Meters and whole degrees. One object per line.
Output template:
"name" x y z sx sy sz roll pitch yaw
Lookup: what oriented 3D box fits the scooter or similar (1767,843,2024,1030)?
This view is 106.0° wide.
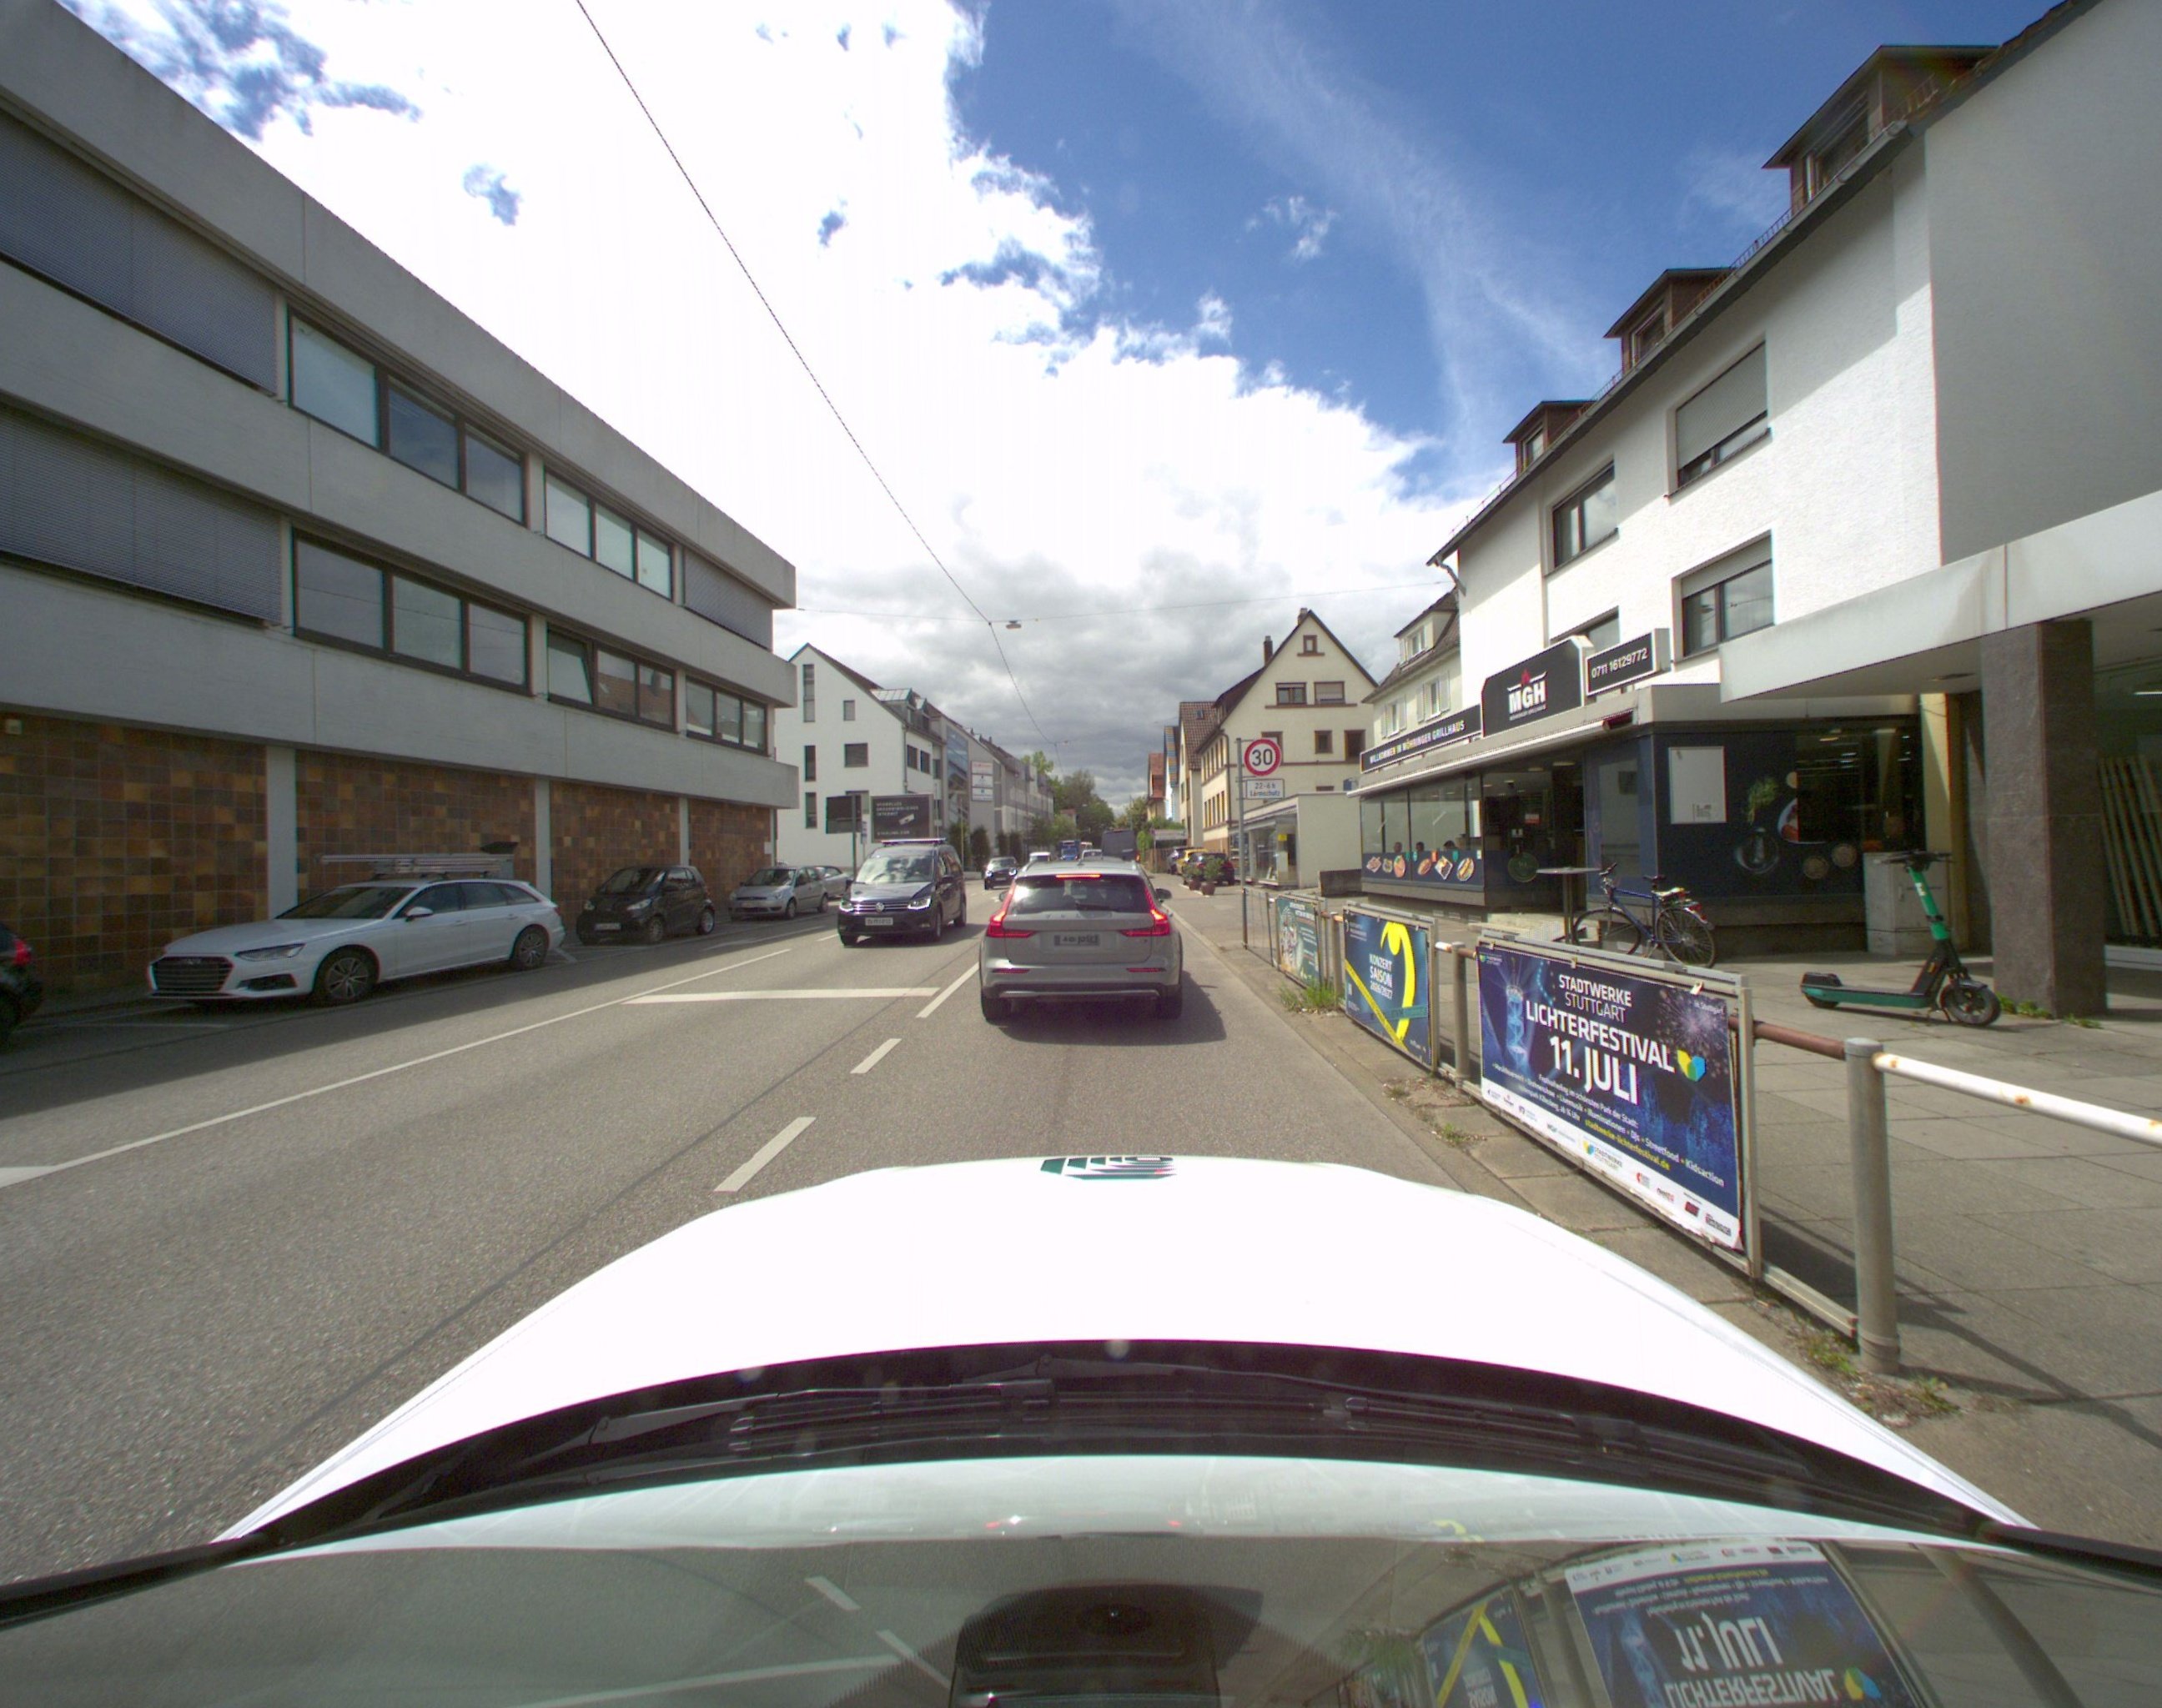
"scooter or similar" 6.197 0.575 6.275 0.688 1.267 1.181 -2 -1 -11

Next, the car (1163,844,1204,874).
"car" 5.972 0.260 48.076 1.854 1.612 4.587 -3 0 1

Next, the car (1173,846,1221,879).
"car" 6.082 0.398 43.284 1.871 1.447 4.307 -2 2 0

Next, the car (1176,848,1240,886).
"car" 5.356 0.523 34.782 1.962 1.447 4.534 -2 0 0

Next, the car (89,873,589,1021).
"car" -9.425 1.052 11.153 2.034 1.444 4.959 -1 0 5

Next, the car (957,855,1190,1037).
"car" 0.054 0.763 8.659 1.888 1.453 3.972 -1 0 3

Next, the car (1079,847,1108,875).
"car" 0.990 0.517 62.157 1.985 2.013 4.004 -1 0 3

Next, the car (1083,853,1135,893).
"car" 1.161 0.711 32.166 1.888 1.446 3.972 -1 0 3

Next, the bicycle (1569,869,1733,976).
"bicycle" 6.213 0.703 8.992 0.474 1.028 1.631 -2 0 -8

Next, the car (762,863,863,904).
"car" -10.500 1.105 32.286 1.941 1.358 4.863 -2 0 6

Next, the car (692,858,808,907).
"car" -13.103 1.077 32.640 1.940 1.619 4.941 -4 0 8

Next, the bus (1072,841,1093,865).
"bus" 0.259 -0.177 115.238 2.672 3.163 10.187 -2 0 1

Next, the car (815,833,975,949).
"car" -3.452 0.626 16.150 1.942 1.877 4.877 -2 0 0

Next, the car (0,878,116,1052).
"car" -10.422 0.986 5.730 2.036 1.475 4.289 -1 0 3

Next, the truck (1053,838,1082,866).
"truck" -1.528 -0.219 95.671 2.842 3.093 8.095 -2 0 3

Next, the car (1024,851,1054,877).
"car" -3.203 0.738 62.650 1.938 1.821 4.279 -2 0 1

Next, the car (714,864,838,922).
"car" -8.553 1.049 23.248 1.714 1.422 4.153 -1 0 4

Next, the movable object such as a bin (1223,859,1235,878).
"movable object such as a bin" 7.488 0.722 41.230 0.498 0.925 0.599 -2 0 5

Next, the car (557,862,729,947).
"car" -8.942 0.979 16.911 1.728 1.556 3.060 -1 0 5

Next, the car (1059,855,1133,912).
"car" 0.493 0.775 23.172 1.888 1.446 3.972 -1 0 3

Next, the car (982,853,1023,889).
"car" -3.785 0.815 39.852 1.671 1.635 2.833 -2 0 0

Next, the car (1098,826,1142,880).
"car" 2.173 -0.047 46.383 2.244 2.795 5.571 -2 0 2
